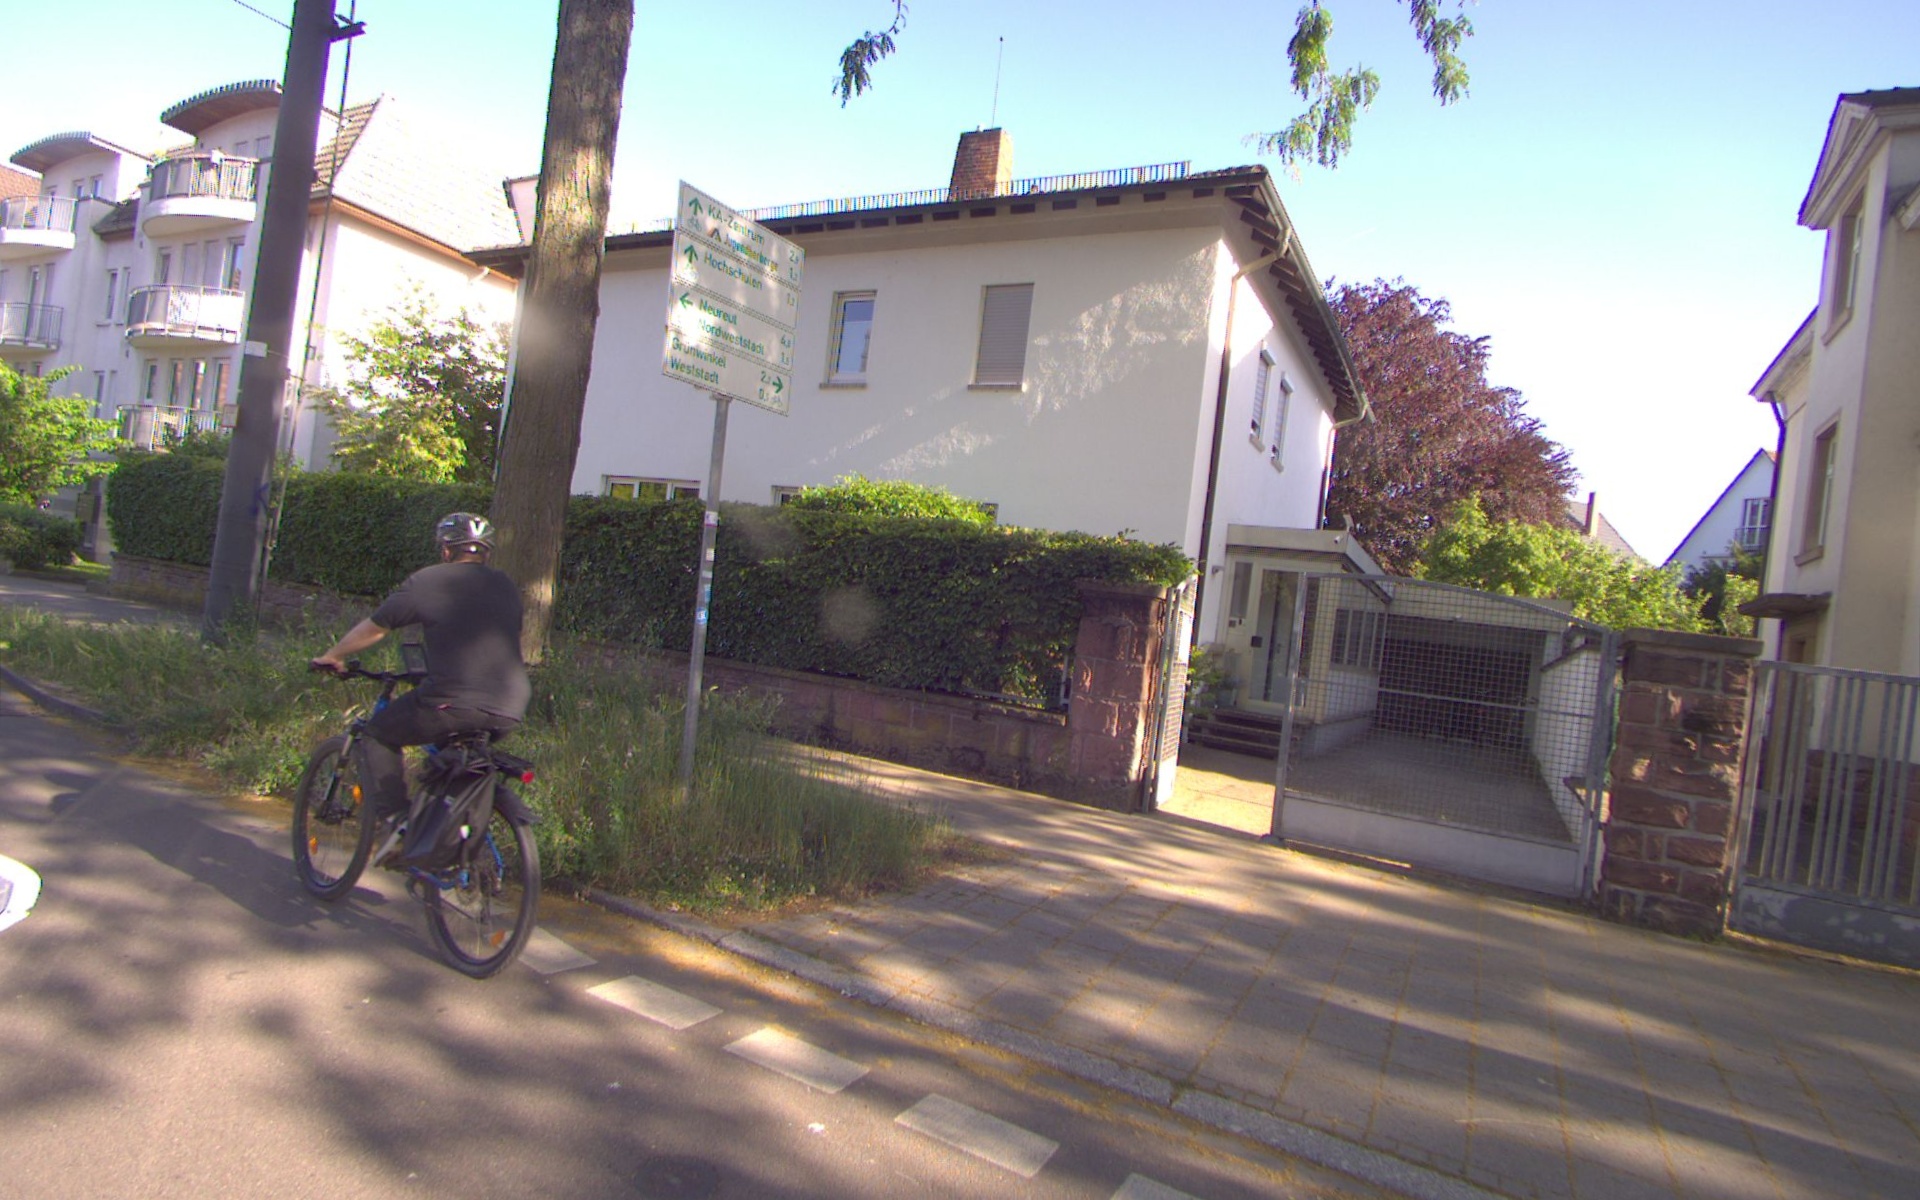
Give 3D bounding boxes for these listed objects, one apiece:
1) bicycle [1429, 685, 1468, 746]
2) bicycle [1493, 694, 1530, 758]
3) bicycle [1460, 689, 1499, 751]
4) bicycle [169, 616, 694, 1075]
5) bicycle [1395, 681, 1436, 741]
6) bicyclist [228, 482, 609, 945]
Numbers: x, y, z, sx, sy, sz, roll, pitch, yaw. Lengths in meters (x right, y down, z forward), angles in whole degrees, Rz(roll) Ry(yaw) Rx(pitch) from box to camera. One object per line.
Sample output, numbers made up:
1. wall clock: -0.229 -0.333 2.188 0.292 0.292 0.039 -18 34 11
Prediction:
1. bicycle: 9.998 2.366 20.573 0.512 1.135 1.465 7 -2 30
2. bicycle: 10.920 2.484 19.906 0.512 1.135 1.465 7 -2 30
3. bicycle: 10.474 2.418 20.276 0.512 1.135 1.465 7 -2 30
4. bicycle: -2.119 0.786 3.915 2.062 1.167 0.830 6 -3 35
5. bicycle: 9.487 2.313 20.938 0.512 1.135 1.465 7 -2 30
6. bicyclist: -2.093 0.385 3.920 0.919 1.519 0.822 6 -1 34
